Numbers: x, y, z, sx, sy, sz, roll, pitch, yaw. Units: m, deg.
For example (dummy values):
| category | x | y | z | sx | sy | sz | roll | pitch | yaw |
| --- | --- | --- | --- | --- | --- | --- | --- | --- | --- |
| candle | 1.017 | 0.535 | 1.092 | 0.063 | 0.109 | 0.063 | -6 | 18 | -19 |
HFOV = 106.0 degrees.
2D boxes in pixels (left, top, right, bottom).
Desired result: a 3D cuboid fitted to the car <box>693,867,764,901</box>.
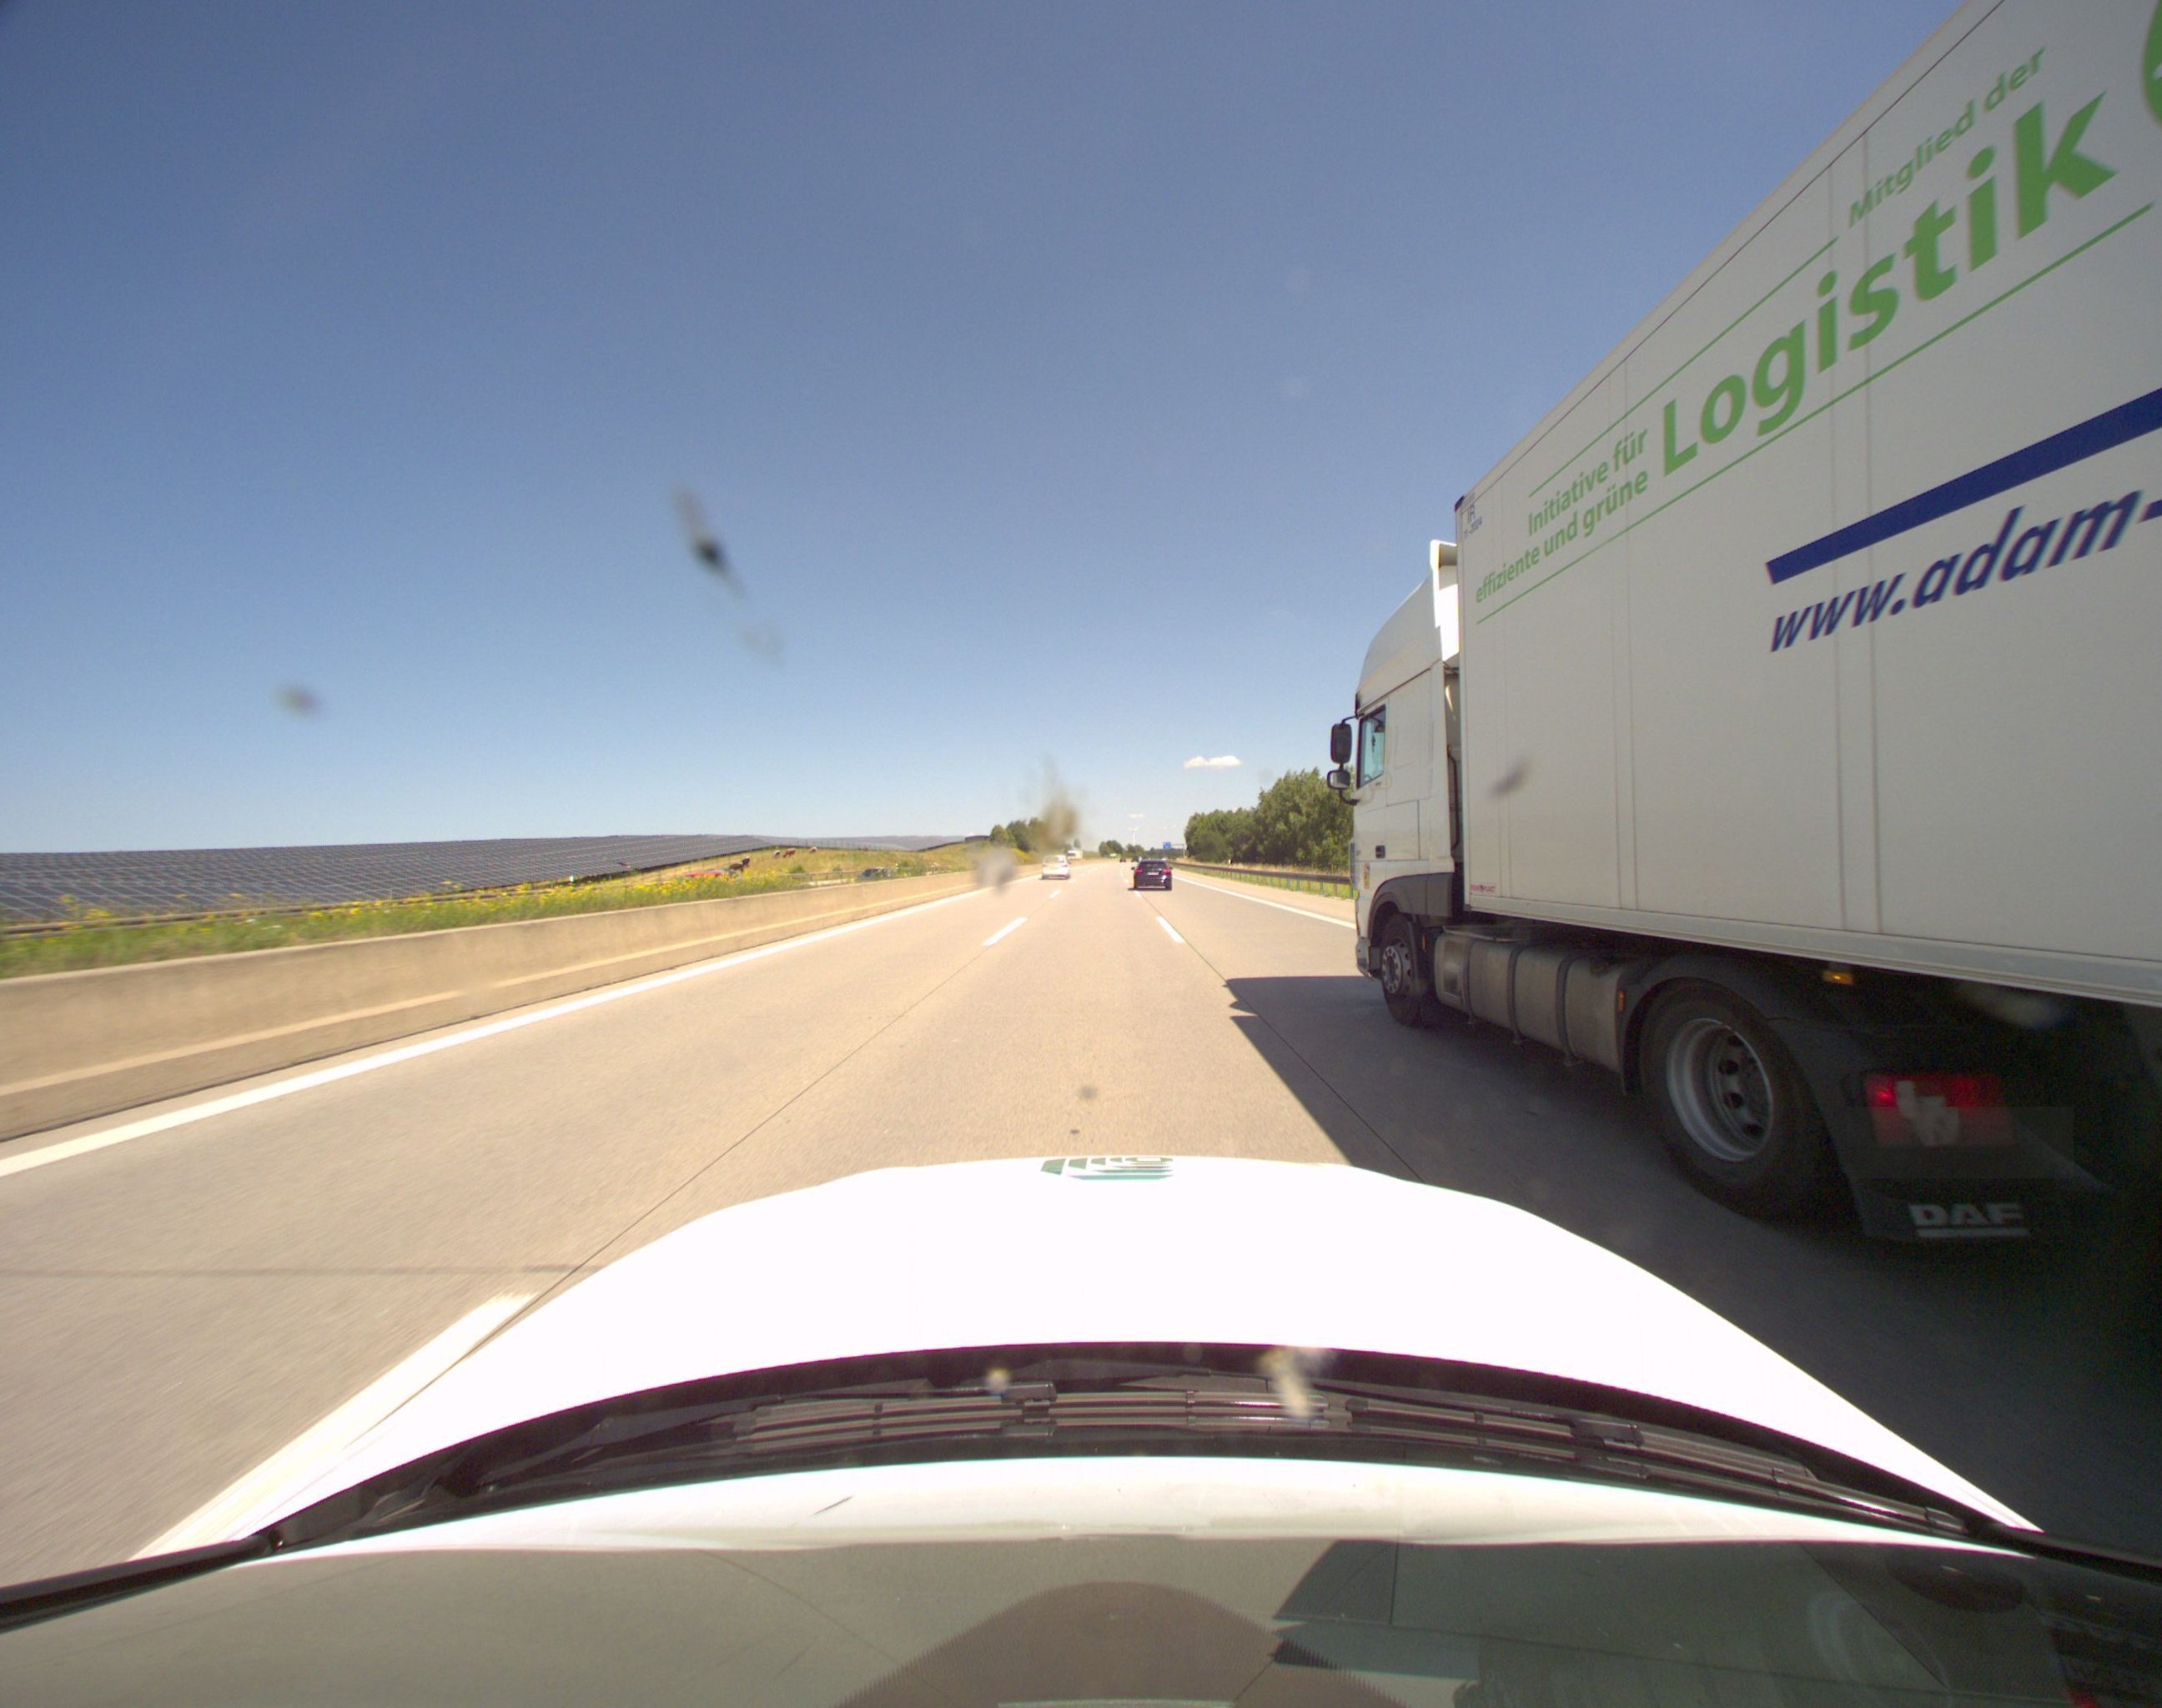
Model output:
| category | x | y | z | sx | sy | sz | roll | pitch | yaw |
| --- | --- | --- | --- | --- | --- | --- | --- | --- | --- |
| car | -17.428 | 1.467 | 40.456 | 1.643 | 1.552 | 3.970 | 0 | 0 | 2 |

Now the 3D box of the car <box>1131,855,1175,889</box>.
| category | x | y | z | sx | sy | sz | roll | pitch | yaw |
| --- | --- | --- | --- | --- | --- | --- | --- | --- | --- |
| car | 3.350 | 0.822 | 38.555 | 1.903 | 1.492 | 4.194 | 0 | 0 | 2 |

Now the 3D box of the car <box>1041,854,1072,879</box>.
| category | x | y | z | sx | sy | sz | roll | pitch | yaw |
| --- | --- | --- | --- | --- | --- | --- | --- | --- | --- |
| car | -1.717 | 0.887 | 58.460 | 1.838 | 1.708 | 6.038 | -1 | -1 | 2 |

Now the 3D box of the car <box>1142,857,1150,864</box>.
| category | x | y | z | sx | sy | sz | roll | pitch | yaw |
| --- | --- | --- | --- | --- | --- | --- | --- | --- | --- |
| car | 16.547 | 1.698 | 208.198 | 1.818 | 1.907 | 4.006 | -1 | 0 | 6 |

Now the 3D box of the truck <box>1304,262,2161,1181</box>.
| category | x | y | z | sx | sy | sz | roll | pitch | yaw |
| --- | --- | --- | --- | --- | --- | --- | --- | --- | --- |
| truck | 3.935 | -0.589 | 6.542 | 2.801 | 4.088 | 5.800 | -1 | 0 | 2 |

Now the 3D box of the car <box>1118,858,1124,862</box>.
| category | x | y | z | sx | sy | sz | roll | pitch | yaw |
| --- | --- | --- | --- | --- | --- | --- | --- | --- | --- |
| car | 11.976 | 1.698 | 241.644 | 1.649 | 1.196 | 3.961 | 2 | 0 | 2 |

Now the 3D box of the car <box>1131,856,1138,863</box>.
| category | x | y | z | sx | sy | sz | roll | pitch | yaw |
| --- | --- | --- | --- | --- | --- | --- | --- | --- | --- |
| car | 14.831 | 1.510 | 226.852 | 1.819 | 1.937 | 3.812 | -1 | -1 | 3 |
